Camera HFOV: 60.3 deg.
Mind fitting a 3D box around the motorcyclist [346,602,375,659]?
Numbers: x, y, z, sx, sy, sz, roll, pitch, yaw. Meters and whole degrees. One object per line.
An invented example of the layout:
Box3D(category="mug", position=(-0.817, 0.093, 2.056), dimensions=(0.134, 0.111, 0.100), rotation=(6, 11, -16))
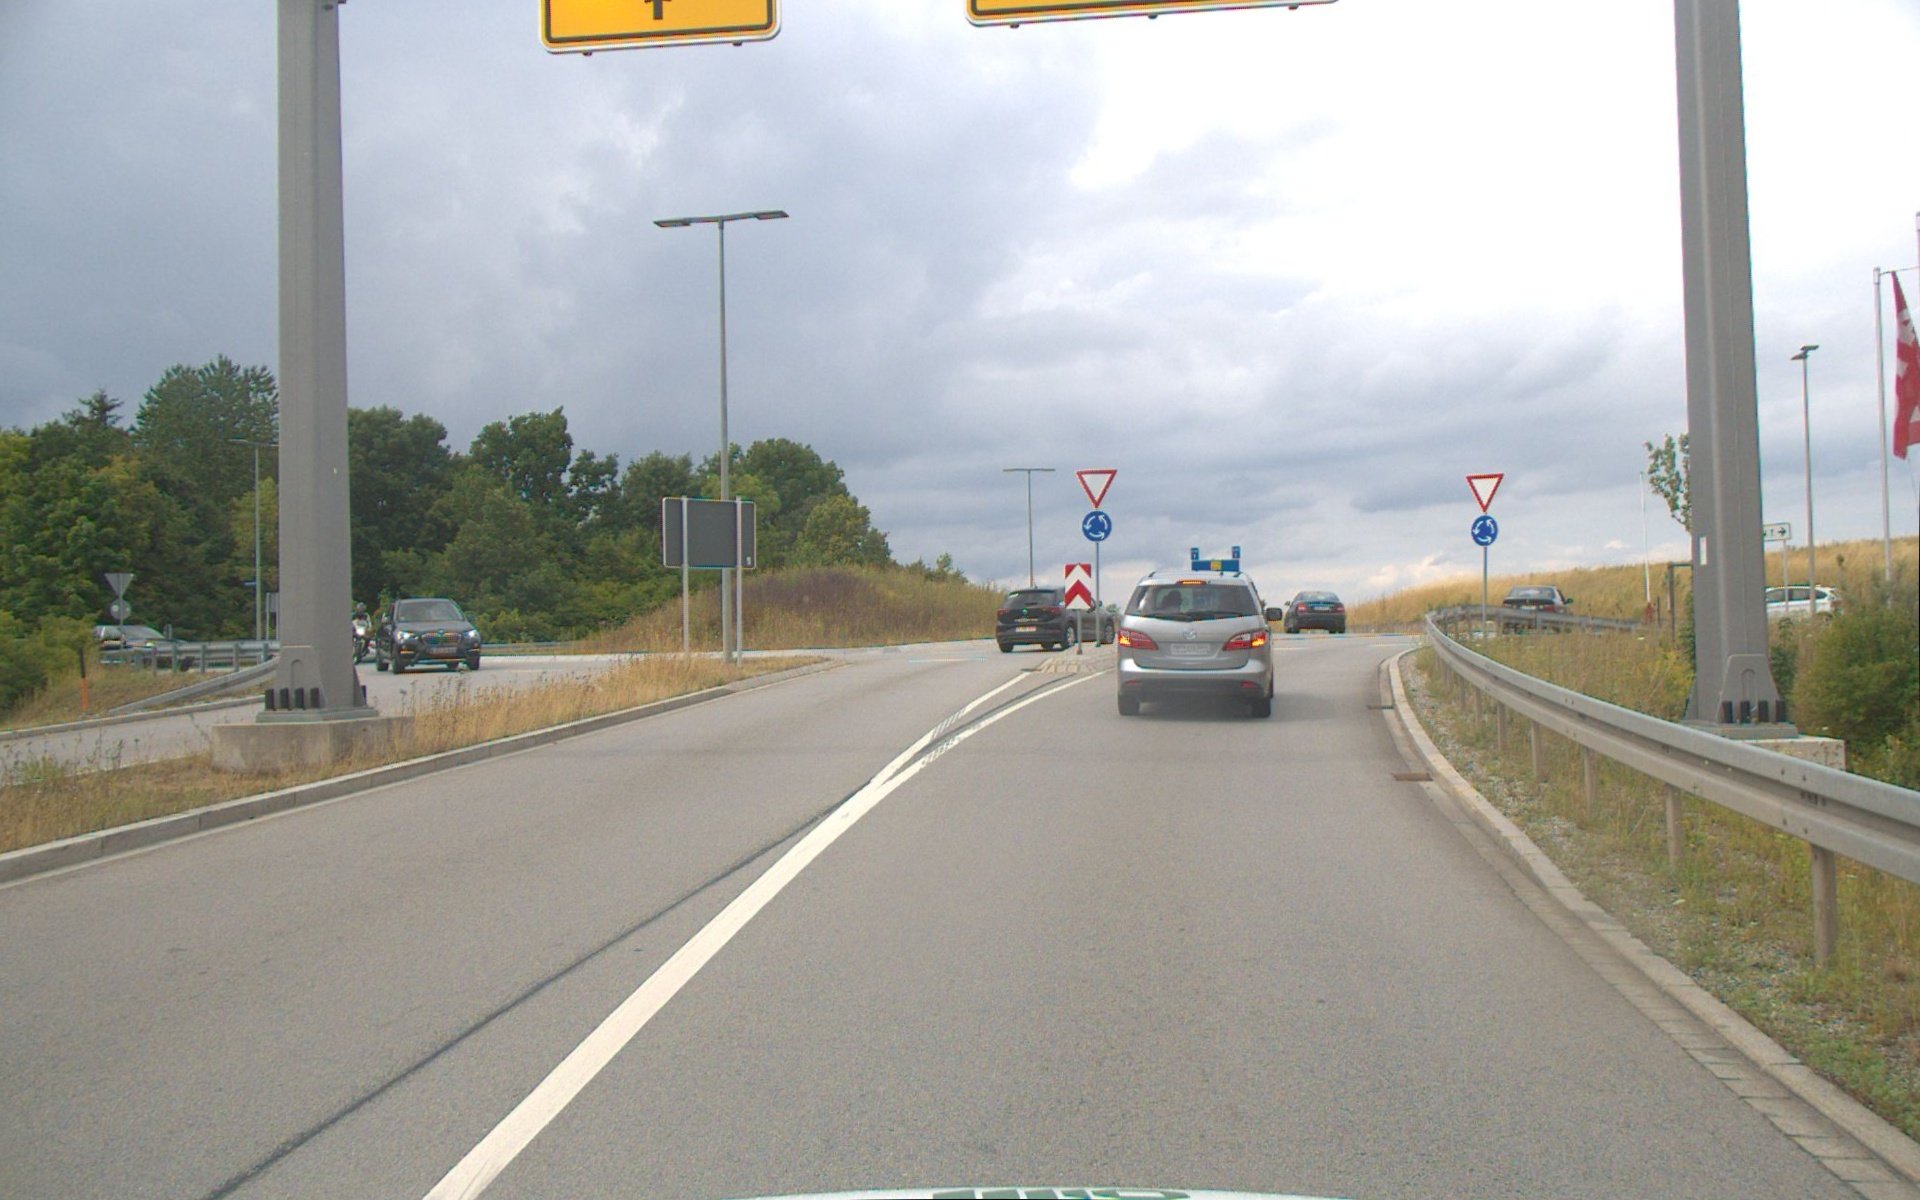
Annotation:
Box3D(category="motorcyclist", position=(-16.778, 0.857, 46.292), dimensions=(0.719, 1.553, 0.652), rotation=(-1, -1, -21))

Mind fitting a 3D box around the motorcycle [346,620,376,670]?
Box3D(category="motorcycle", position=(-16.877, 1.262, 46.578), dimensions=(0.738, 1.324, 2.470), rotation=(-1, -1, -20))

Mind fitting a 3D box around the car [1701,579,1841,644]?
Box3D(category="car", position=(27.729, 0.408, 56.657), dimensions=(3.951, 2.049, 1.796), rotation=(-2, -1, 13))

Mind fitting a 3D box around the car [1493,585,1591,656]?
Box3D(category="car", position=(16.276, 0.547, 46.182), dimensions=(1.624, 1.870, 3.945), rotation=(-2, -1, 33))

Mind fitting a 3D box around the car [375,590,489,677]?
Box3D(category="car", position=(-11.741, 0.721, 36.605), dimensions=(1.831, 1.694, 4.129), rotation=(-4, 1, -25))

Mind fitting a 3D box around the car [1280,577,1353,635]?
Box3D(category="car", position=(11.950, 0.217, 55.670), dimensions=(1.856, 1.814, 4.159), rotation=(-2, -1, 5))

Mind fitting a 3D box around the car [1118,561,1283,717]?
Box3D(category="car", position=(2.860, 0.378, 19.732), dimensions=(1.729, 1.644, 3.925), rotation=(-1, 2, 8))
